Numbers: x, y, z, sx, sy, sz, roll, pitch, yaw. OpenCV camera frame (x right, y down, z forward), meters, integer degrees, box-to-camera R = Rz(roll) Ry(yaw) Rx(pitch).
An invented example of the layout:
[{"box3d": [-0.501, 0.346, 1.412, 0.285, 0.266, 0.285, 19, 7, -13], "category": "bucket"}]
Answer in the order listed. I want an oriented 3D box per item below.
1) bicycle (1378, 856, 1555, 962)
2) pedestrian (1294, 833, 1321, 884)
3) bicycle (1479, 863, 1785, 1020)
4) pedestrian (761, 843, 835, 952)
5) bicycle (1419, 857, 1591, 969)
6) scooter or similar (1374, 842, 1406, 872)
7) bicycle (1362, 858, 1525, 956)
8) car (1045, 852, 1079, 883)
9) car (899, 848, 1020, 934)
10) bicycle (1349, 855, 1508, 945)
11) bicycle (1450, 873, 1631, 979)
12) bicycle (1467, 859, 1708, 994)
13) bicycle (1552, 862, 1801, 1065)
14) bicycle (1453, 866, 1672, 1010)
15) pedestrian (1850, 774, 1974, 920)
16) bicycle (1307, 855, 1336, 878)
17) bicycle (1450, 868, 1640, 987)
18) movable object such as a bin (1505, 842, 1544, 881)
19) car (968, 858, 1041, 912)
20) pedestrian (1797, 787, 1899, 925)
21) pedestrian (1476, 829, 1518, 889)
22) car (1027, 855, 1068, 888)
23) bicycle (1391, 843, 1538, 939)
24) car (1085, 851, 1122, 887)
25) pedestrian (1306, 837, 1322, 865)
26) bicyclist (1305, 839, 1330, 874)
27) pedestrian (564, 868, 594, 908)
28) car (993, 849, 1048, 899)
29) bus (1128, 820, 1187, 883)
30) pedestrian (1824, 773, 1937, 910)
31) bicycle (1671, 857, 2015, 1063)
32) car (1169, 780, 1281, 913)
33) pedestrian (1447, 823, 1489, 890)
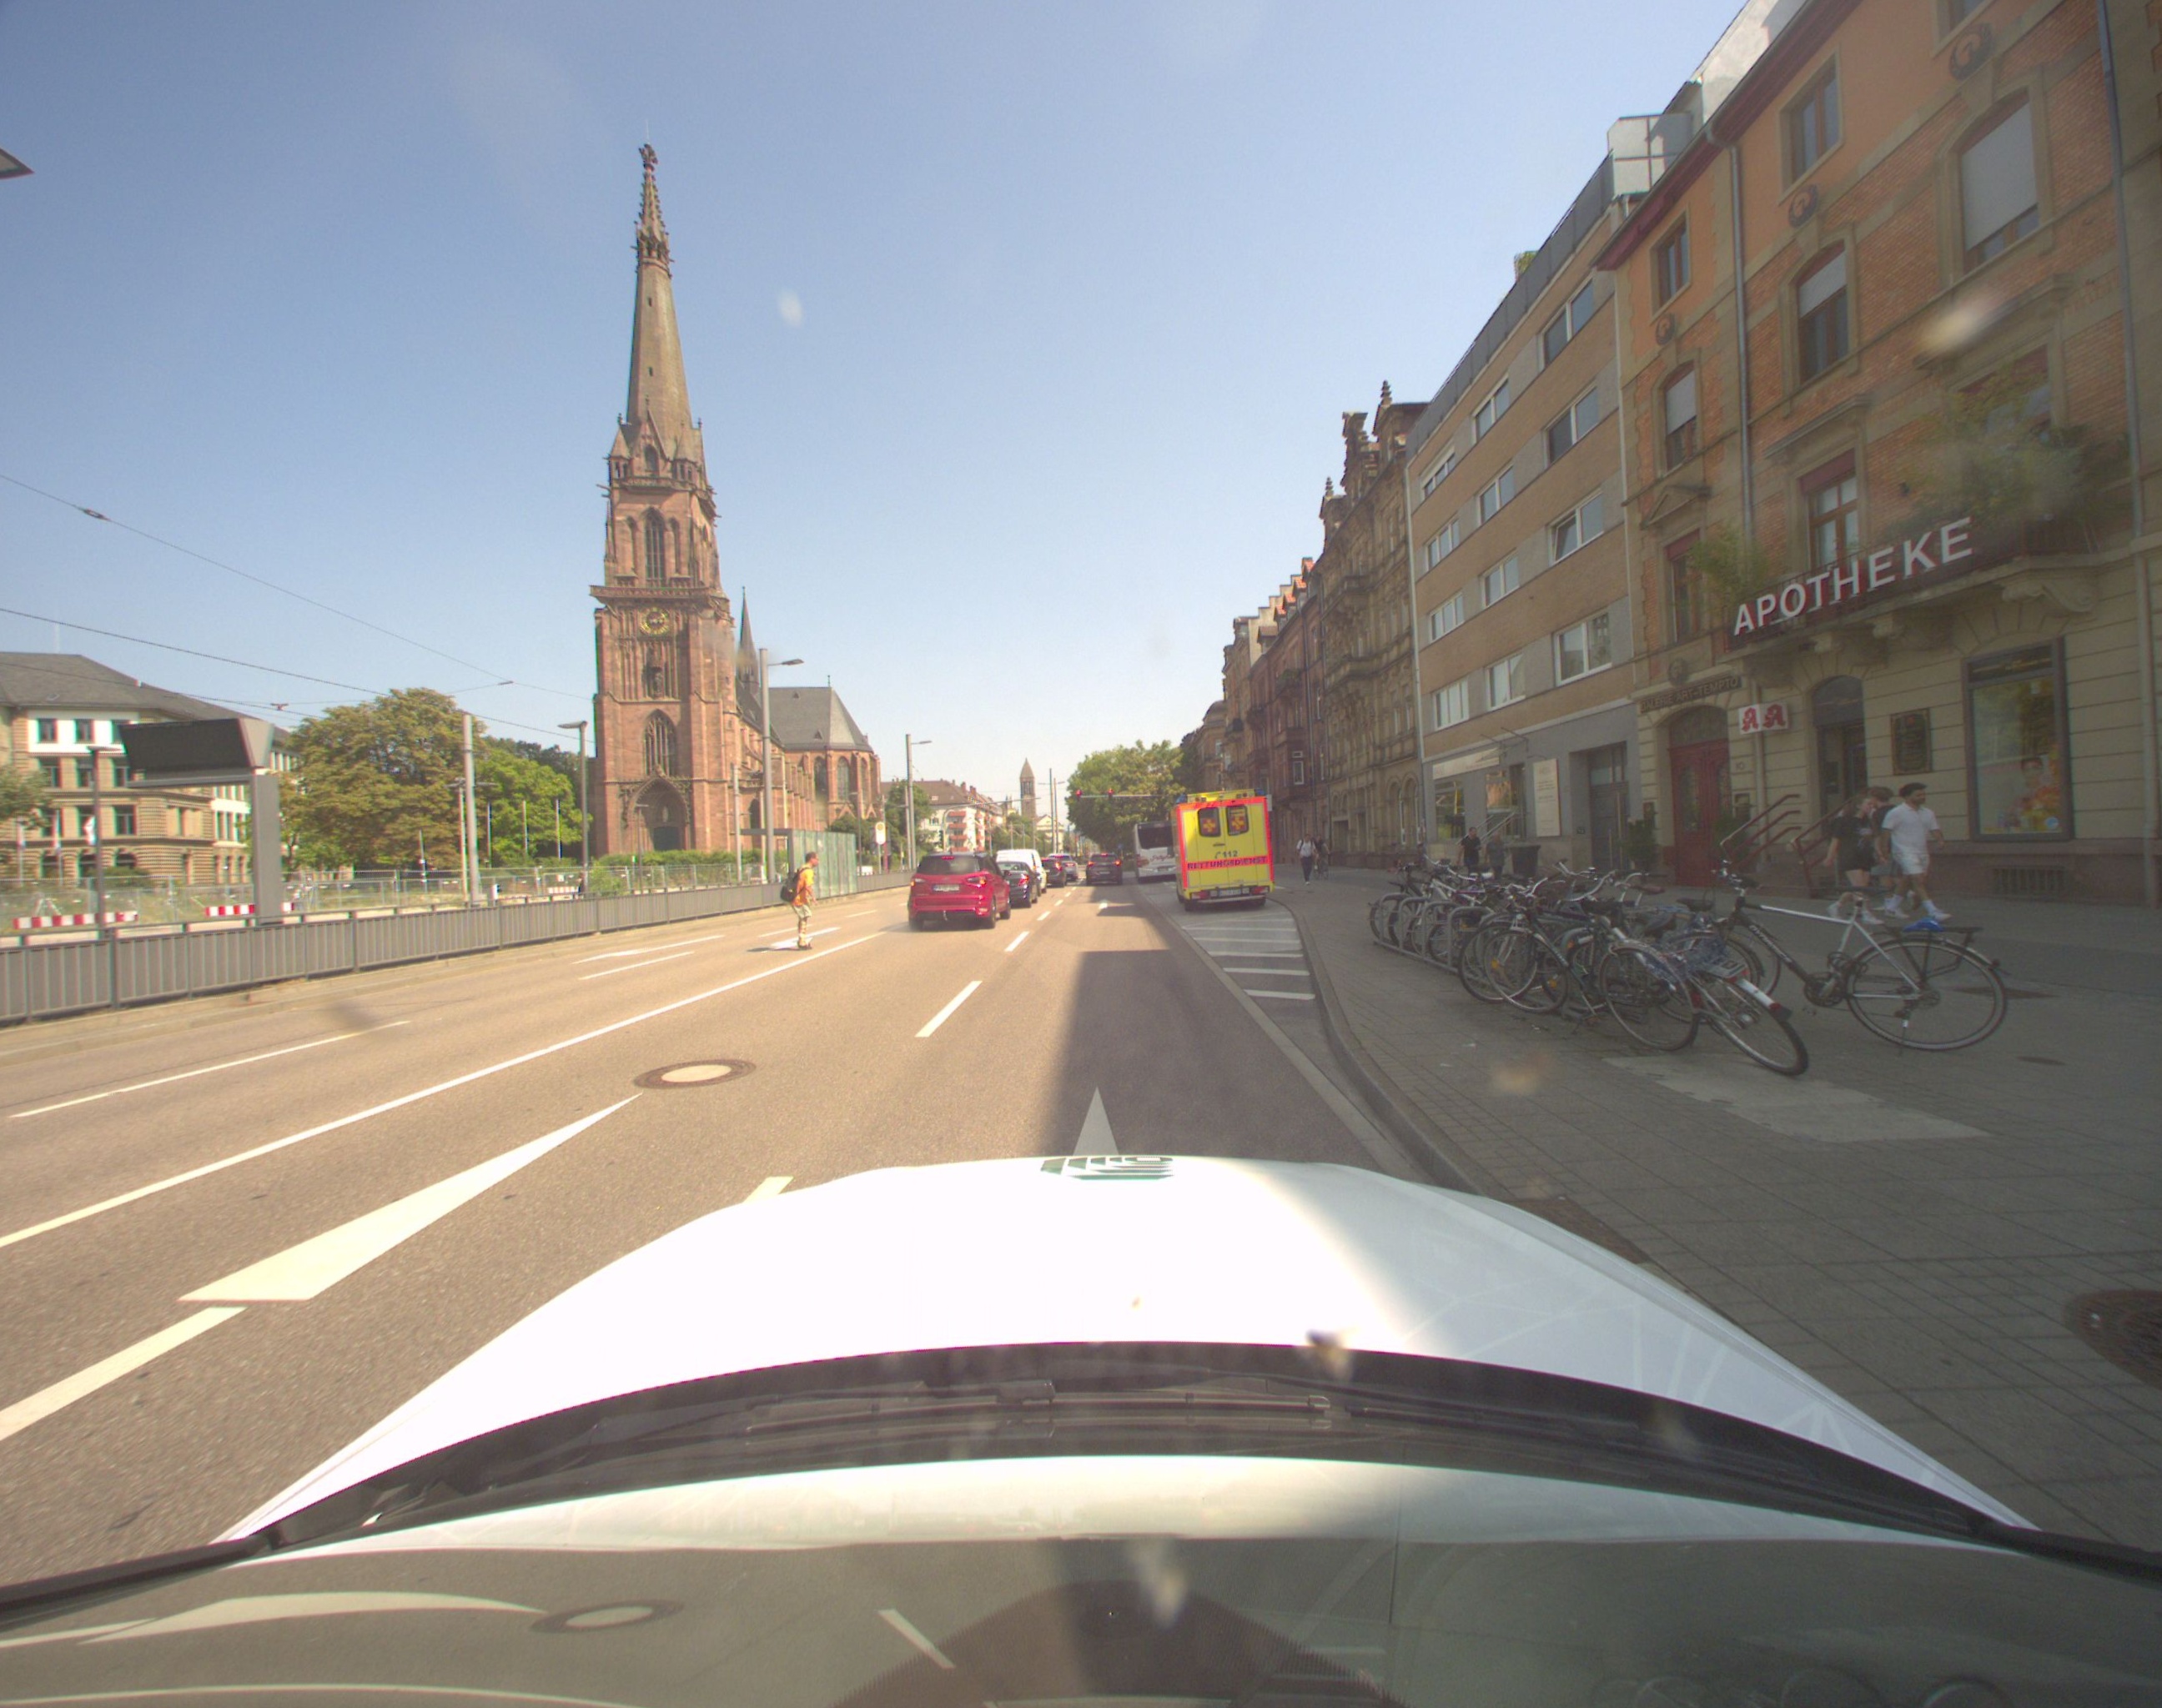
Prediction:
[{"box3d": [4.254, 0.596, 9.065, 1.651, 1.071, 0.644, -2, 1, 1], "category": "bicycle"}, {"box3d": [7.565, 0.146, 27.143, 0.690, 1.667, 0.606, -3, 0, 27], "category": "pedestrian"}, {"box3d": [4.168, 0.644, 6.199, 2.116, 1.071, 0.381, -2, 1, -3], "category": "bicycle"}, {"box3d": [-4.834, 0.726, 13.971, 1.067, 1.752, 0.759, -2, -1, -15], "category": "pedestrian"}, {"box3d": [4.389, 0.601, 8.479, 1.531, 1.071, 0.472, -2, 1, 1], "category": "bicycle"}, {"box3d": [12.858, 0.130, 33.952, 0.514, 1.196, 1.296, -3, 0, -17], "category": "scooter or similar"}, {"box3d": [4.325, 0.621, 9.799, 1.651, 1.072, 0.644, -2, 0, 1], "category": "bicycle"}, {"box3d": [-1.081, 0.799, 48.407, 1.784, 1.698, 4.000, -2, -1, 0], "category": "car"}, {"box3d": [-2.558, 0.721, 18.124, 1.755, 1.618, 4.086, -3, 0, 3], "category": "car"}, {"box3d": [4.462, 0.586, 10.552, 1.767, 1.072, 0.645, -2, 0, 6], "category": "bicycle"}, {"box3d": [4.447, 0.688, 7.922, 1.531, 0.952, 0.365, -2, 1, 1], "category": "bicycle"}, {"box3d": [4.351, 0.611, 7.039, 1.828, 1.071, 0.365, -2, 1, 1], "category": "bicycle"}, {"box3d": [3.673, 0.601, 5.183, 0.474, 1.071, 1.506, -3, 0, 2], "category": "bicycle"}, {"box3d": [3.872, 0.666, 6.594, 1.531, 1.071, 0.365, -2, 1, 1], "category": "bicycle"}, {"box3d": [10.915, -0.086, 10.731, 0.597, 1.795, 0.880, -5, -1, 2], "category": "pedestrian"}, {"box3d": [9.283, 0.480, 31.492, 0.587, 0.855, 1.775, -3, 0, 0], "category": "bicycle"}, {"box3d": [4.286, 0.670, 7.562, 1.531, 1.016, 0.365, -2, 1, 1], "category": "bicycle"}, {"box3d": [12.585, 0.223, 23.096, 0.651, 1.047, 0.755, -3, 0, -42], "category": "movable object such as a bin"}, {"box3d": [-2.272, 0.890, 25.121, 1.784, 1.431, 4.000, -3, 0, 0], "category": "car"}, {"box3d": [10.280, 0.032, 10.936, 0.575, 1.750, 0.679, -5, -1, 1], "category": "pedestrian"}, {"box3d": [10.720, 0.125, 21.007, 0.641, 1.493, 0.789, -3, 0, 1], "category": "pedestrian"}, {"box3d": [-1.630, 0.862, 40.501, 1.784, 1.472, 4.000, -2, -1, 0], "category": "car"}, {"box3d": [5.203, 0.496, 11.117, 1.665, 1.215, 0.645, -2, 0, 6], "category": "bicycle"}, {"box3d": [1.133, 0.768, 41.959, 1.784, 1.677, 4.000, -2, -1, 0], "category": "car"}, {"box3d": [13.885, -0.189, 48.487, 0.621, 1.593, 0.695, -3, 0, -4], "category": "pedestrian"}, {"box3d": [9.176, 0.094, 31.576, 0.750, 1.322, 0.582, -3, 0, 1], "category": "bicyclist"}, {"box3d": [-22.507, 1.516, 36.548, 0.826, 1.752, 0.721, -3, -1, 2], "category": "pedestrian"}, {"box3d": [-2.332, 0.764, 32.283, 1.784, 1.780, 4.000, -2, -1, 0], "category": "car"}, {"box3d": [4.125, -0.113, 46.310, 2.524, 3.032, 12.441, -3, 0, 2], "category": "bus"}, {"box3d": [11.379, -0.173, 11.614, 0.840, 1.846, 0.684, -4, 0, -8], "category": "pedestrian"}, {"box3d": [4.837, 0.590, 5.288, 1.544, 1.119, 0.696, -1, 1, 43], "category": "bicycle"}, {"box3d": [3.577, -0.185, 21.342, 2.288, 2.888, 5.608, -4, 0, 6], "category": "car"}, {"box3d": [10.028, 0.058, 21.139, 0.641, 1.685, 0.789, -3, 0, 1], "category": "pedestrian"}]
